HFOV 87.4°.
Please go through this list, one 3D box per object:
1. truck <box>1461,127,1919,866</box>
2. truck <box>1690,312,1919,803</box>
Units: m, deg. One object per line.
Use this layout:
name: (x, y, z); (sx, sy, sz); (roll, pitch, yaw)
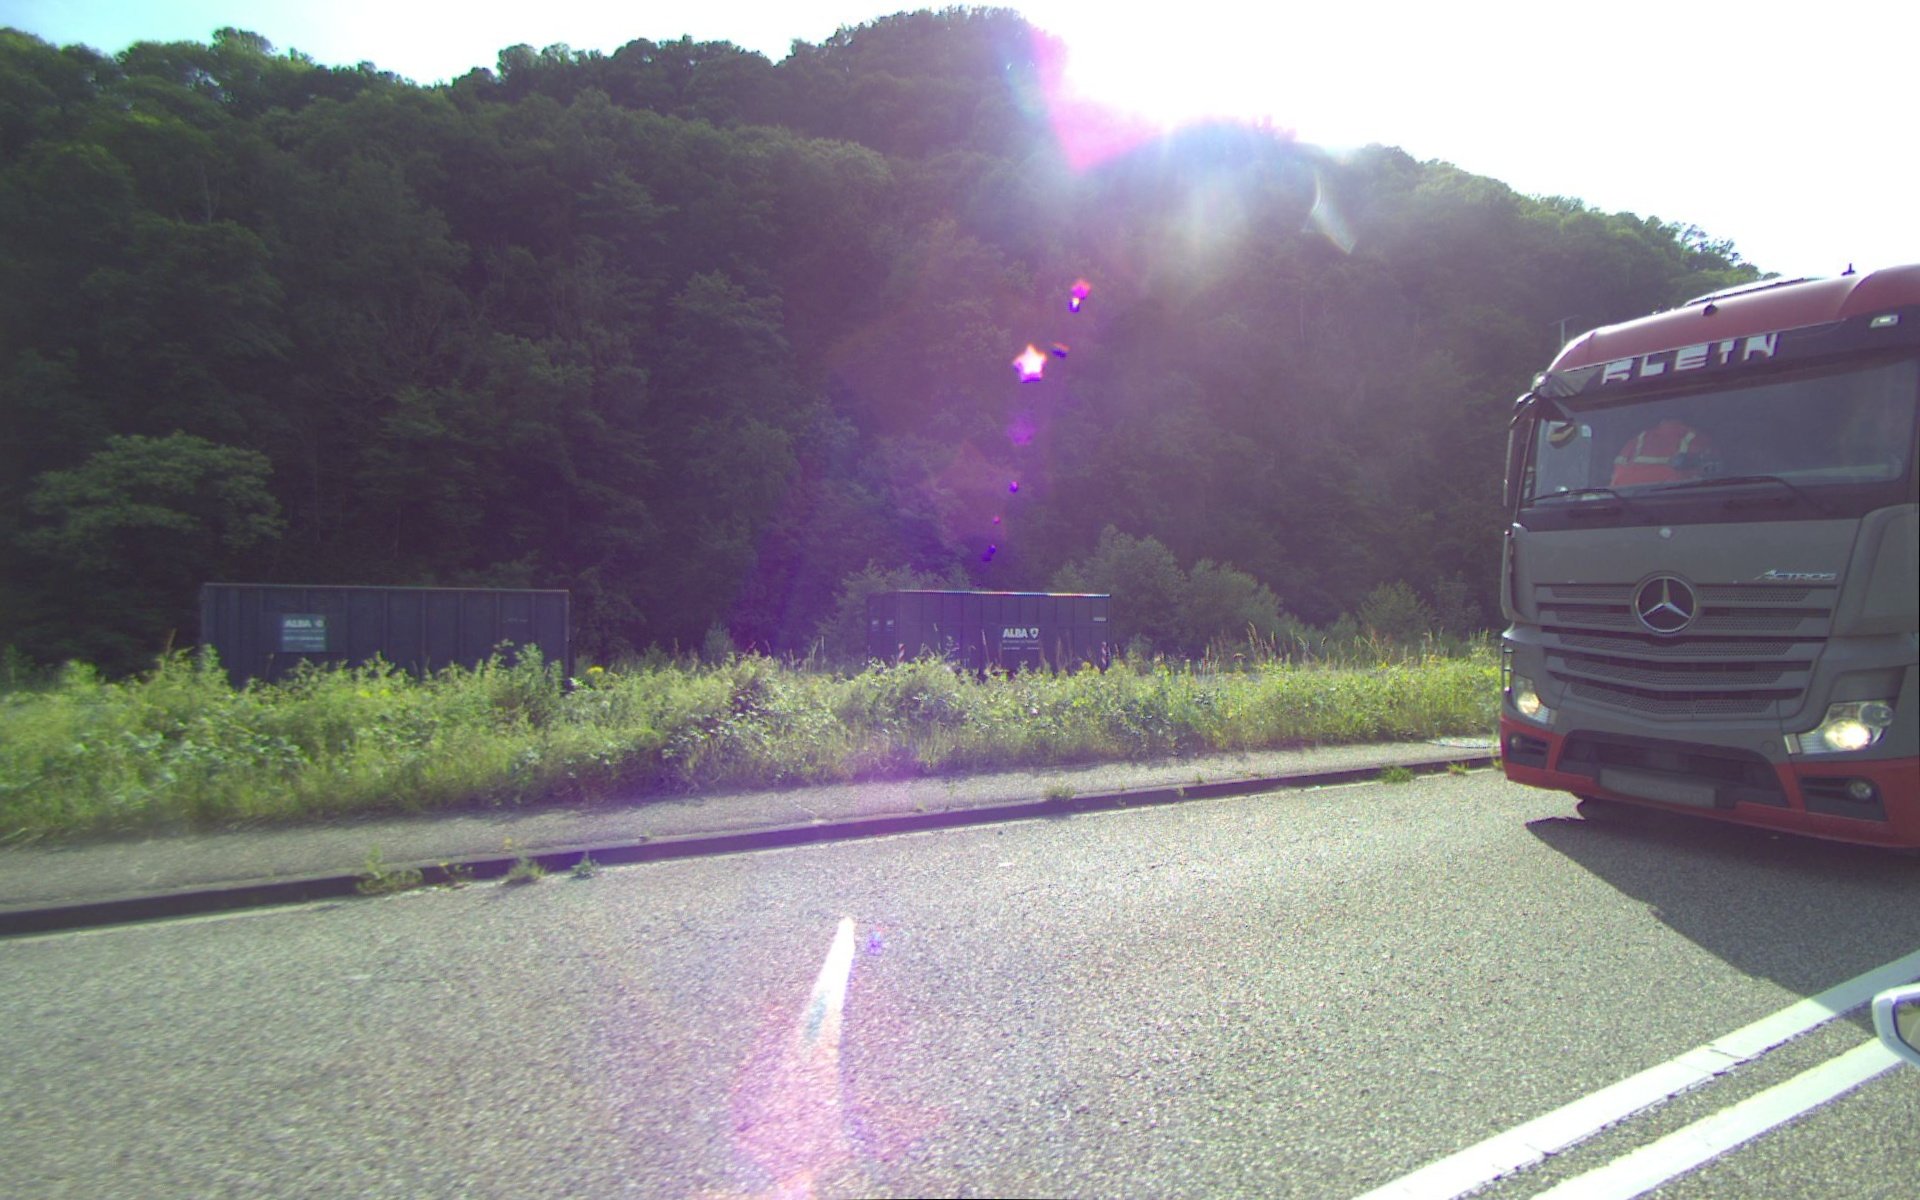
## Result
truck: (7.930, -0.490, 8.405); (8.102, 3.886, 2.737); (1, 0, -30)
truck: (13.764, -0.244, 11.644); (14.382, 3.886, 2.738); (1, 0, -29)
